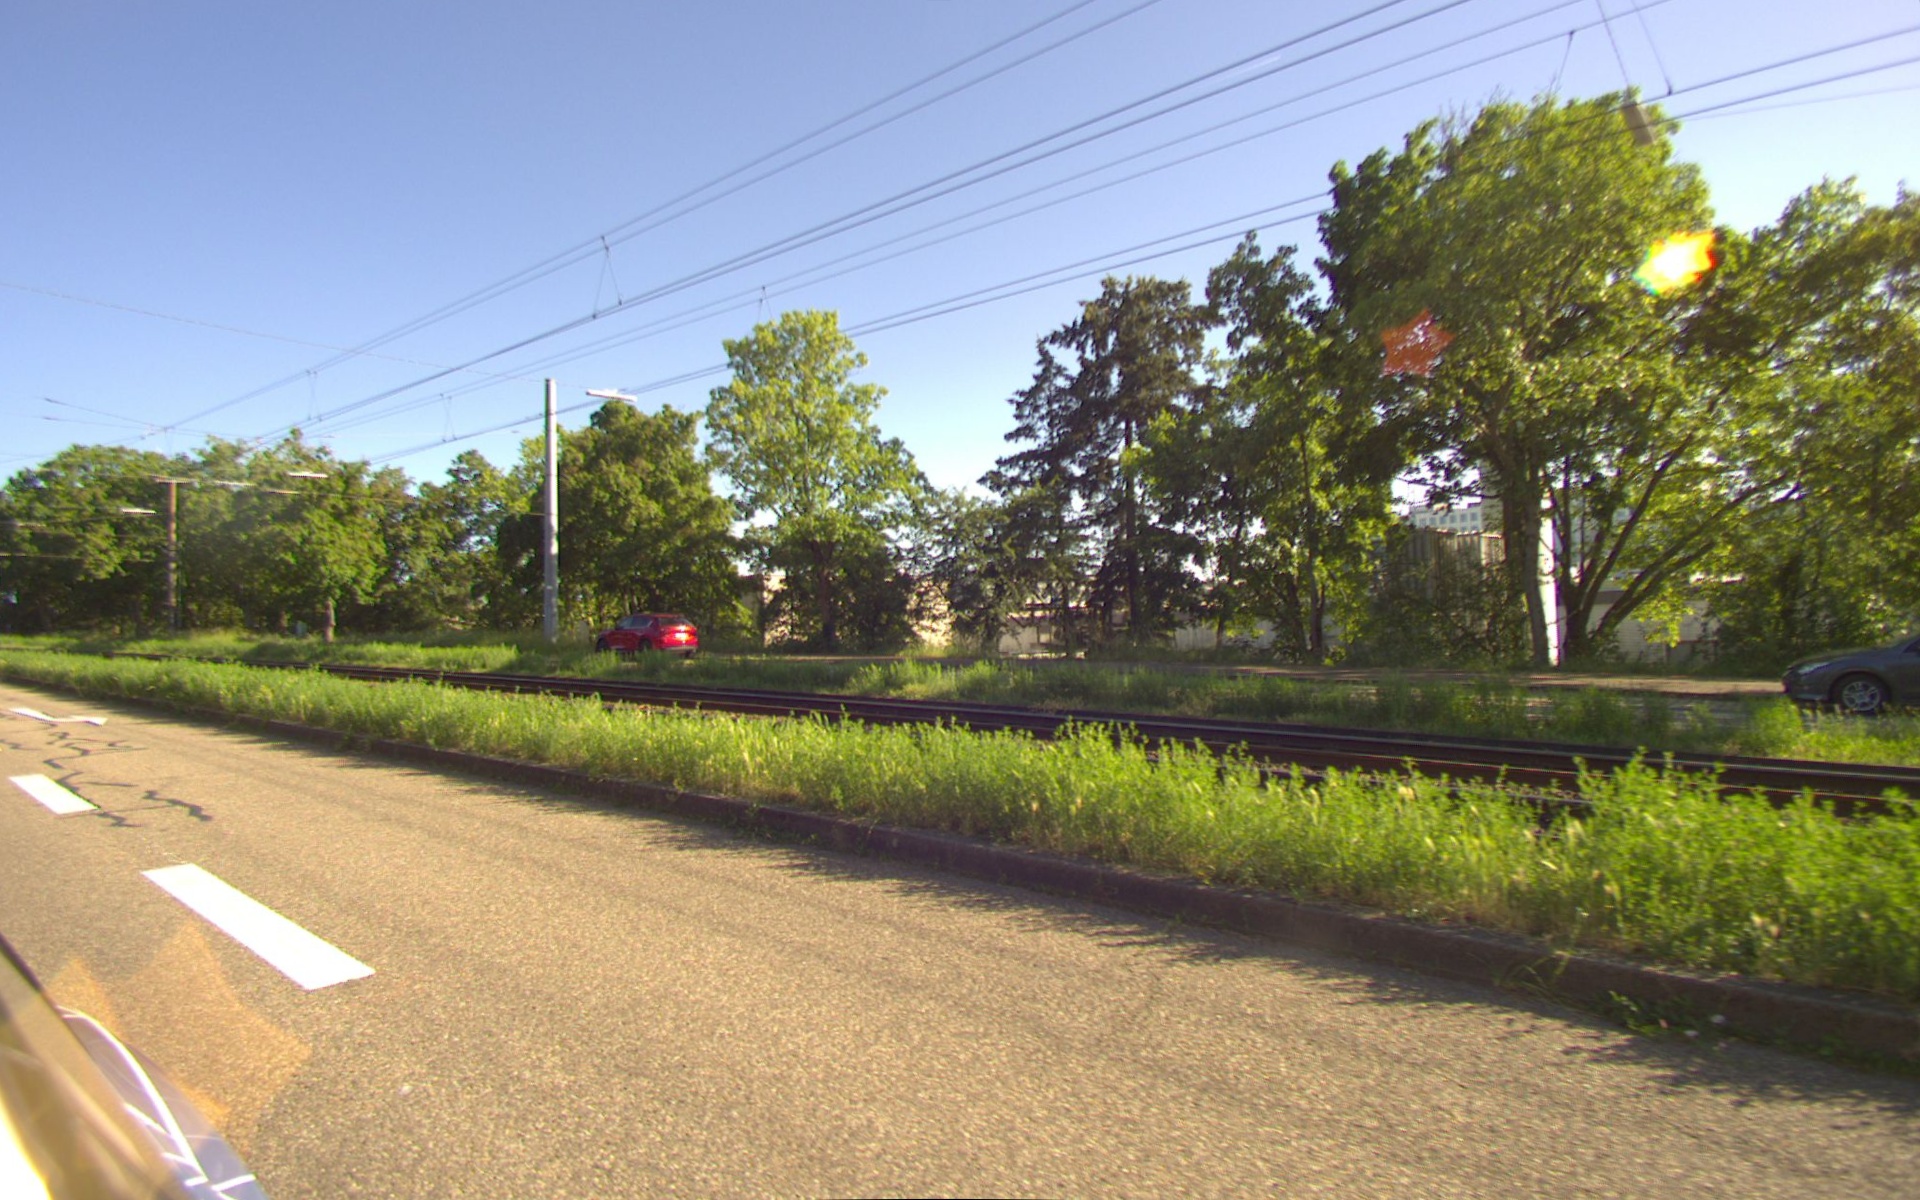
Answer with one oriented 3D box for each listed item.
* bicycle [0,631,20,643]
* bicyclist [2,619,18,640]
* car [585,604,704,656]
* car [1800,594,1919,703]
[{"bbox_3d":[-80.192,3.128,85.416,2.532,0.921,0.811,-2,-1,36],"label":"bicycle"},{"bbox_3d":[-80.129,2.512,85.369,0.900,1.749,0.812,-2,-1,36],"label":"bicyclist"},{"bbox_3d":[-11.276,1.060,36.057,4.463,1.715,1.984,-2,-1,40],"label":"car"},{"bbox_3d":[14.686,0.657,14.252,4.323,1.505,1.718,-1,0,39],"label":"car"}]
